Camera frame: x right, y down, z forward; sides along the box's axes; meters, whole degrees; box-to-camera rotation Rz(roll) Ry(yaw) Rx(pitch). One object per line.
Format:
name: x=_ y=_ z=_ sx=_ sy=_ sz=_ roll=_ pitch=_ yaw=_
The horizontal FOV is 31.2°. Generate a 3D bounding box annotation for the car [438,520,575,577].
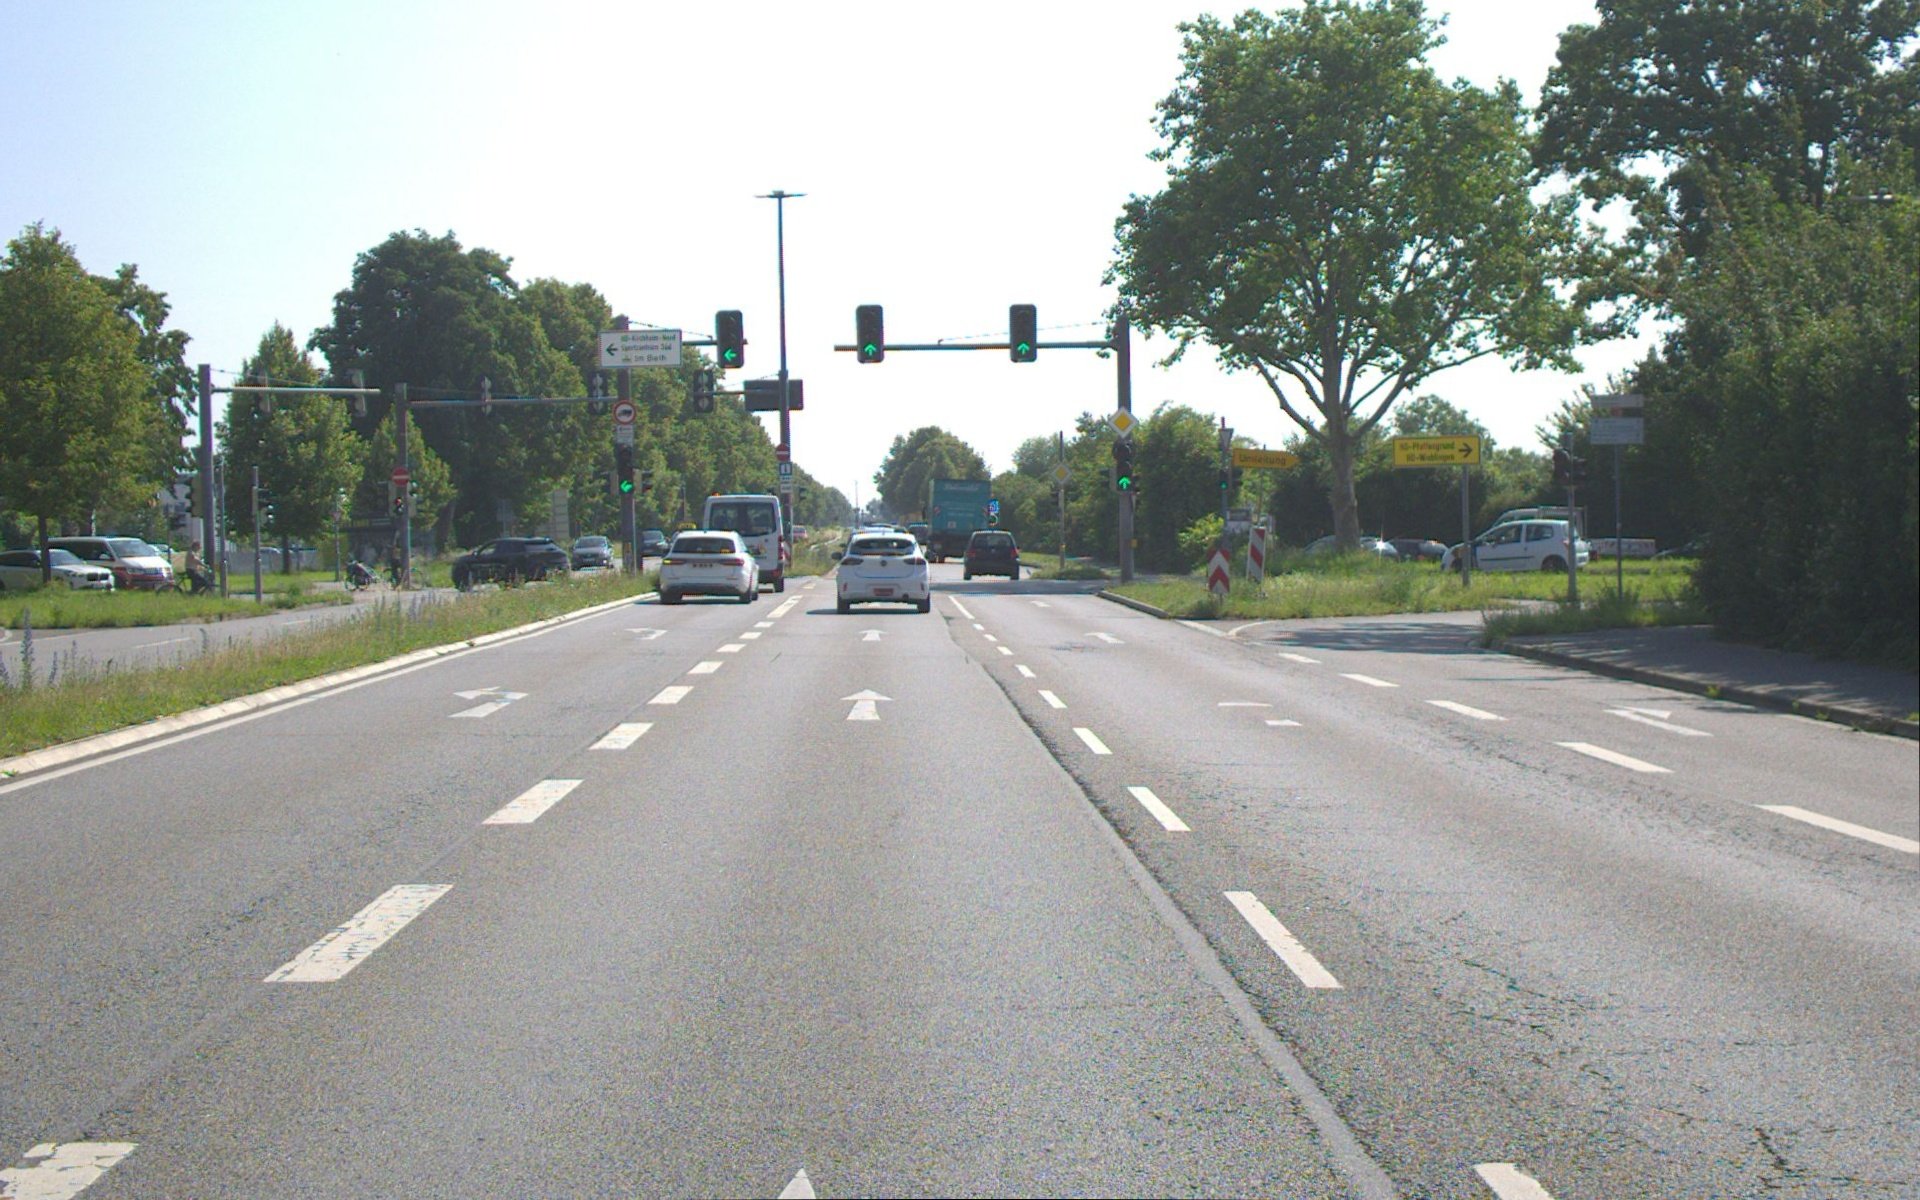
car: x=-13.342 y=-1.533 z=101.070 sx=3.997 sy=1.643 sz=1.909 roll=1 pitch=1 yaw=43

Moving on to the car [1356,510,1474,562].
car: x=14.183 y=-1.990 z=107.307 sx=1.616 sy=1.542 sz=3.825 roll=1 pitch=0 yaw=-31

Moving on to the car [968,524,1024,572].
car: x=1.040 y=-1.526 z=101.151 sx=1.572 sy=1.409 sz=3.278 roll=0 pitch=1 yaw=-1

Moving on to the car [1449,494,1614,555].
car: x=14.264 y=-1.881 z=85.828 sx=3.747 sy=1.464 sz=1.783 roll=0 pitch=1 yaw=24

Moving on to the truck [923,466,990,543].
truck: x=-0.203 y=-4.392 z=157.767 sx=2.891 sy=3.417 sz=9.170 roll=-1 pitch=2 yaw=-1

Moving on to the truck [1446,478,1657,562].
truck: x=17.544 y=-2.347 z=102.317 sx=2.338 sy=2.378 sz=6.475 roll=1 pitch=0 yaw=-34

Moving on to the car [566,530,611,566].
car: x=-15.762 y=-2.211 z=145.936 sx=1.485 sy=1.409 sz=3.763 roll=-3 pitch=2 yaw=-1

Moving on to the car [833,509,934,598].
car: x=-1.379 y=-0.882 z=63.579 sx=1.798 sy=1.547 sz=4.001 roll=0 pitch=2 yaw=0

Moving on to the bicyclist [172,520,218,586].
bicyclist: x=-17.857 y=-1.105 z=80.278 sx=0.847 sy=1.512 sz=0.747 roll=0 pitch=2 yaw=4

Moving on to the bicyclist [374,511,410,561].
bicyclist: x=-18.253 y=-2.063 z=110.552 sx=0.863 sy=1.613 sz=0.757 roll=1 pitch=1 yaw=27

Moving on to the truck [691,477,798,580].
truck: x=-5.190 y=-1.782 z=83.623 sx=2.373 sy=2.380 sz=6.041 roll=-1 pitch=2 yaw=-2

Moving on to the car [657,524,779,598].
car: x=-4.948 y=-0.830 z=70.856 sx=1.813 sy=1.459 sz=4.970 roll=-1 pitch=1 yaw=4

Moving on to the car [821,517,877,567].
car: x=-3.261 y=-1.717 z=101.178 sx=1.572 sy=1.409 sz=3.278 roll=-1 pitch=2 yaw=-1

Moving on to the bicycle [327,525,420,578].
bicycle: x=-18.908 y=-1.567 z=110.893 sx=2.796 sy=1.664 sz=1.134 roll=0 pitch=1 yaw=26

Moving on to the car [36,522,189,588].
car: x=-26.384 y=-1.401 z=106.984 sx=4.649 sy=1.943 sz=1.996 roll=0 pitch=2 yaw=34

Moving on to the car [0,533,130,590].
car: x=-27.226 y=-1.159 z=103.478 sx=4.262 sy=1.600 sz=2.001 roll=-1 pitch=2 yaw=35
